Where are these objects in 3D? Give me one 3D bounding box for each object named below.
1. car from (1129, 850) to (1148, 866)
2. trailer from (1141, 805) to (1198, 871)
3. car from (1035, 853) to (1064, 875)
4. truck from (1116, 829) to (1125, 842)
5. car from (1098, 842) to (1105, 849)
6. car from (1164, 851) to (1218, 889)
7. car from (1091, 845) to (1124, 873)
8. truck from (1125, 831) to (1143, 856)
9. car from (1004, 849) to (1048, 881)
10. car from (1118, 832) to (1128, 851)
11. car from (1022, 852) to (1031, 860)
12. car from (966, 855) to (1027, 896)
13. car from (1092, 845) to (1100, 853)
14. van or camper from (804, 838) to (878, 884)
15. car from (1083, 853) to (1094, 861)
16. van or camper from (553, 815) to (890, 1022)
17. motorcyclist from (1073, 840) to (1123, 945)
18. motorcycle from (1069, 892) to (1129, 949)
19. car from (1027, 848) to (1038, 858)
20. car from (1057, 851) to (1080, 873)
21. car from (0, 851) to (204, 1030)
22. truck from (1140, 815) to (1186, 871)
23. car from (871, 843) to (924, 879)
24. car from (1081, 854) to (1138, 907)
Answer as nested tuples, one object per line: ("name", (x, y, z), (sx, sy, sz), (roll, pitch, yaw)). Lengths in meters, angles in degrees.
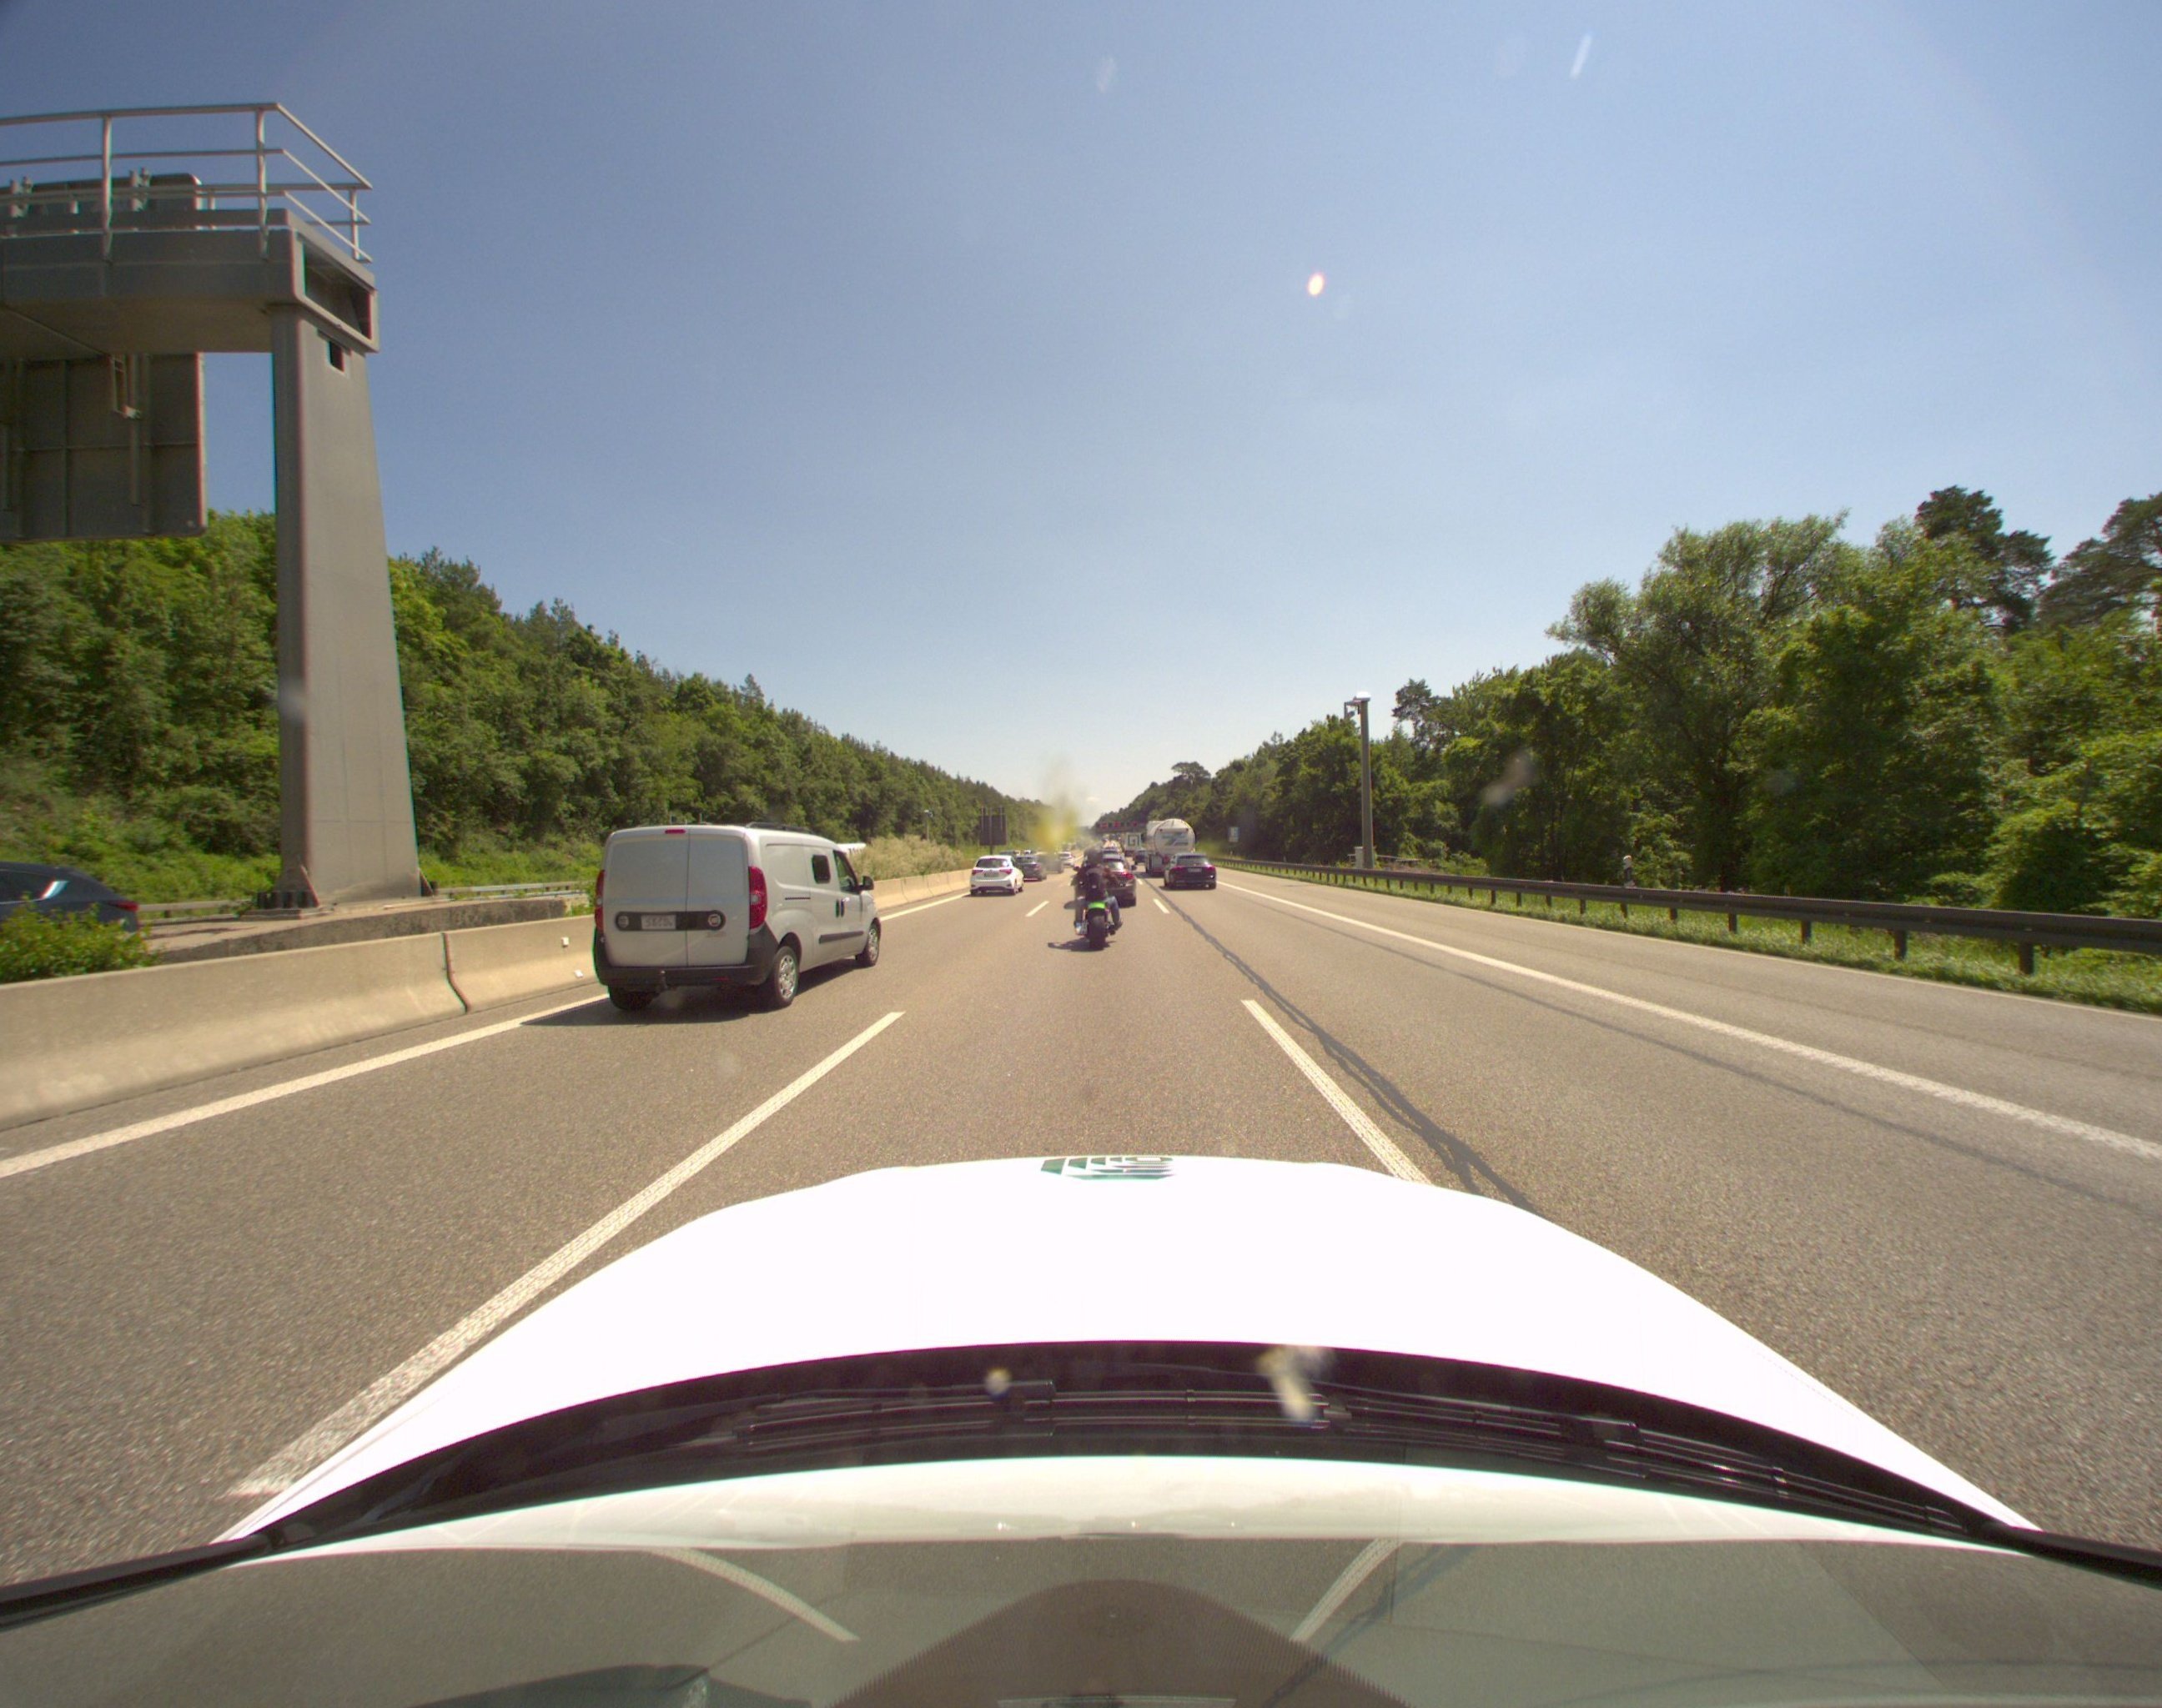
("car", (5.836, 0.465, 83.224), (1.769, 1.527, 4.002), (-1, -1, 2))
("trailer", (5.427, -0.797, 51.602), (2.817, 3.671, 10.737), (-1, -1, 2))
("car", (-2.240, 0.742, 58.919), (1.988, 1.464, 3.997), (-1, -1, -1))
("truck", (12.252, -5.779, 254.290), (2.686, 3.405, 10.483), (-2, -1, 2))
("car", (6.064, -2.392, 237.892), (1.986, 2.014, 4.002), (-2, -1, 2))
("car", (4.504, 0.672, 33.866), (1.785, 1.458, 4.626), (-1, -1, 2))
("car", (1.646, 0.357, 51.301), (1.986, 1.711, 4.001), (-1, -1, 1))
("truck", (9.053, -1.721, 138.619), (2.840, 3.821, 7.196), (-1, -1, 5))
("car", (-2.992, 0.632, 45.074), (1.986, 1.684, 4.332), (-1, -1, 2))
("car", (9.036, -2.622, 176.341), (2.159, 3.893, 9.334), (-1, -1, 2))
("car", (-14.231, 0.508, 211.596), (1.987, 2.013, 4.000), (-1, 0, 0))
("car", (-3.194, 0.775, 31.387), (1.769, 1.411, 4.002), (-1, 0, 2))
("car", (3.246, -1.010, 179.454), (1.654, 1.599, 4.002), (-1, -1, 3))
("van or camper", (-13.485, 0.452, 46.276), (2.143, 2.423, 6.199), (-1, -1, 2))
("car", (1.258, 0.514, 137.903), (1.757, 1.442, 4.003), (-1, 0, 3))
("van or camper", (-3.830, 0.592, 9.733), (1.846, 1.880, 4.563), (-1, 0, 2))
("motorcyclist", (0.295, 0.630, 13.657), (0.796, 1.688, 1.017), (-1, -2, 2))
("motorcycle", (0.323, 1.090, 13.837), (0.932, 0.793, 2.300), (-1, -1, 2))
("car", (-8.837, -0.159, 148.601), (1.690, 1.813, 4.001), (-1, 0, 1))
("car", (-1.191, 0.815, 77.423), (1.986, 2.014, 4.001), (-1, -1, 2))
("car", (-11.253, 0.817, 7.214), (1.986, 1.692, 4.514), (-1, -1, 1))
("truck", (5.630, -0.660, 56.955), (2.817, 3.671, 6.432), (-1, -1, 2))
("car", (-10.777, 0.380, 48.125), (1.985, 2.013, 4.275), (-1, 0, 3))
("car", (0.855, 0.742, 24.290), (1.535, 1.450, 4.002), (-1, -1, 2))
